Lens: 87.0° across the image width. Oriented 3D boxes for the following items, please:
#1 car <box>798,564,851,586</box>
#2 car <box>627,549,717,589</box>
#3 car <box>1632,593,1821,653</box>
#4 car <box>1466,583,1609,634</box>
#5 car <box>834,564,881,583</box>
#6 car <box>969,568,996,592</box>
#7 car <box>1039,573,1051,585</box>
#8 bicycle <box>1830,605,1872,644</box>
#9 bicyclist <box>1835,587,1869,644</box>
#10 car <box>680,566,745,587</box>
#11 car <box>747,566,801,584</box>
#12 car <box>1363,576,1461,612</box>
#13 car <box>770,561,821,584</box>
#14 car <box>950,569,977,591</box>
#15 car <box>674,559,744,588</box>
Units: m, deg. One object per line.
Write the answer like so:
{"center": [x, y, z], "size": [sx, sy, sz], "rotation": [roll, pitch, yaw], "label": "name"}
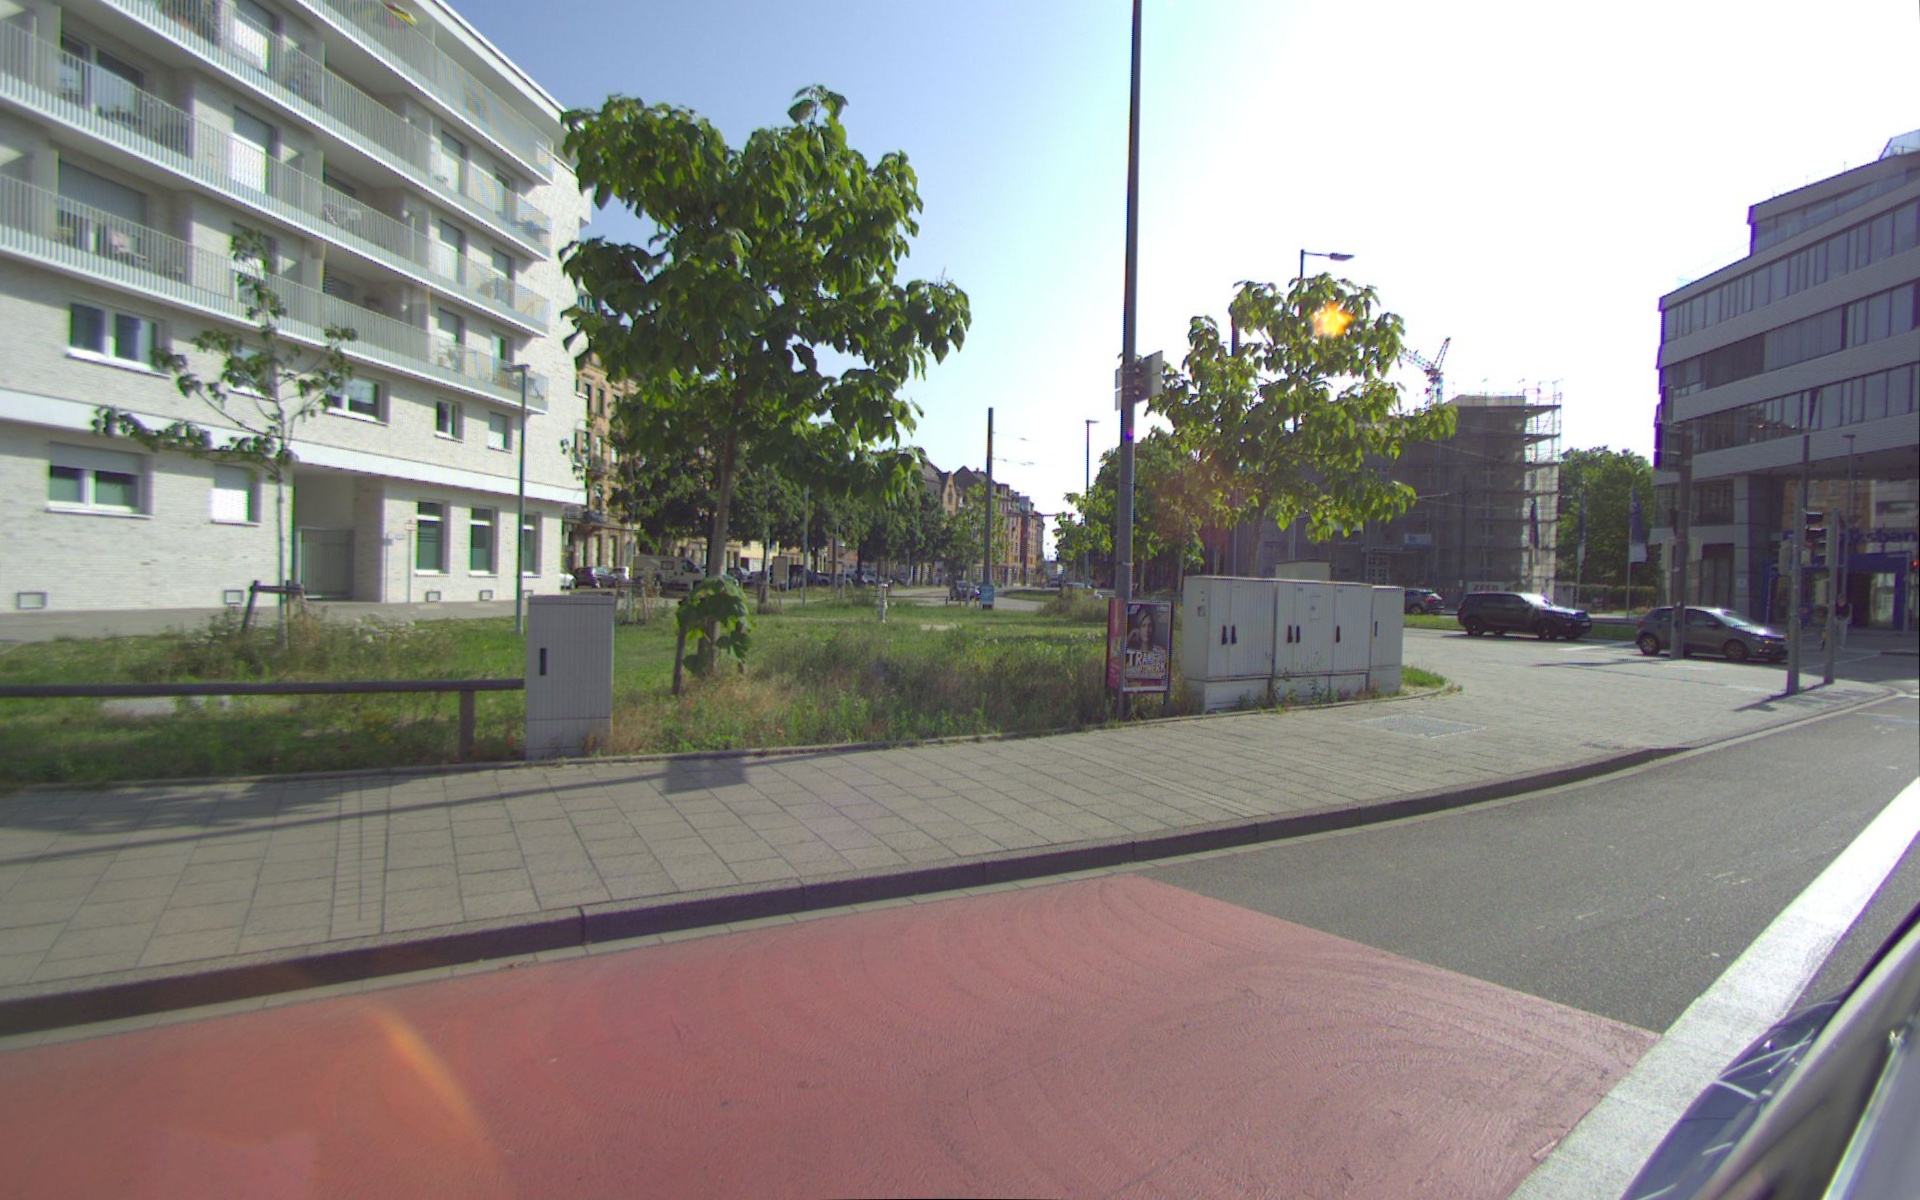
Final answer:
{"center": [-12.908, -2.388, 96.455], "size": [4.639, 1.787, 1.726], "rotation": [2, 1, -20], "label": "car"}
{"center": [-16.972, -1.820, 59.661], "size": [4.940, 2.205, 1.884], "rotation": [1, 1, -20], "label": "car"}
{"center": [21.299, 0.576, 28.306], "size": [1.610, 1.436, 3.904], "rotation": [1, 2, -22], "label": "car"}
{"center": [21.131, 0.275, 37.205], "size": [1.767, 1.698, 4.227], "rotation": [1, 1, -30], "label": "car"}
{"center": [-11.124, -2.860, 109.878], "size": [4.829, 1.861, 1.723], "rotation": [2, 1, -32], "label": "car"}
{"center": [2.067, -1.840, 92.350], "size": [1.966, 2.038, 3.992], "rotation": [2, 1, 8], "label": "car"}
{"center": [14.524, -3.612, 172.921], "size": [1.965, 2.003, 3.996], "rotation": [1, 3, 5], "label": "car"}
{"center": [27.869, 0.737, 31.652], "size": [1.772, 1.111, 0.669], "rotation": [-2, 3, -39], "label": "bicycle"}
{"center": [27.946, 0.474, 31.702], "size": [0.626, 1.723, 0.669], "rotation": [-1, 3, -39], "label": "bicyclist"}
{"center": [-16.017, -1.540, 65.415], "size": [3.777, 1.264, 1.725], "rotation": [1, 1, -27], "label": "car"}
{"center": [-14.331, -1.928, 77.971], "size": [3.777, 1.264, 1.725], "rotation": [1, 1, -27], "label": "car"}
{"center": [25.493, -0.369, 57.200], "size": [1.917, 1.805, 4.821], "rotation": [-1, 3, -30], "label": "car"}
{"center": [-13.675, -2.274, 83.995], "size": [3.776, 1.828, 1.789], "rotation": [1, 1, -25], "label": "car"}
{"center": [0.268, -1.491, 76.446], "size": [1.963, 1.580, 3.874], "rotation": [0, 1, 1], "label": "car"}
{"center": [-15.685, -1.655, 63.178], "size": [3.903, 1.727, 1.883], "rotation": [1, 1, -27], "label": "car"}
